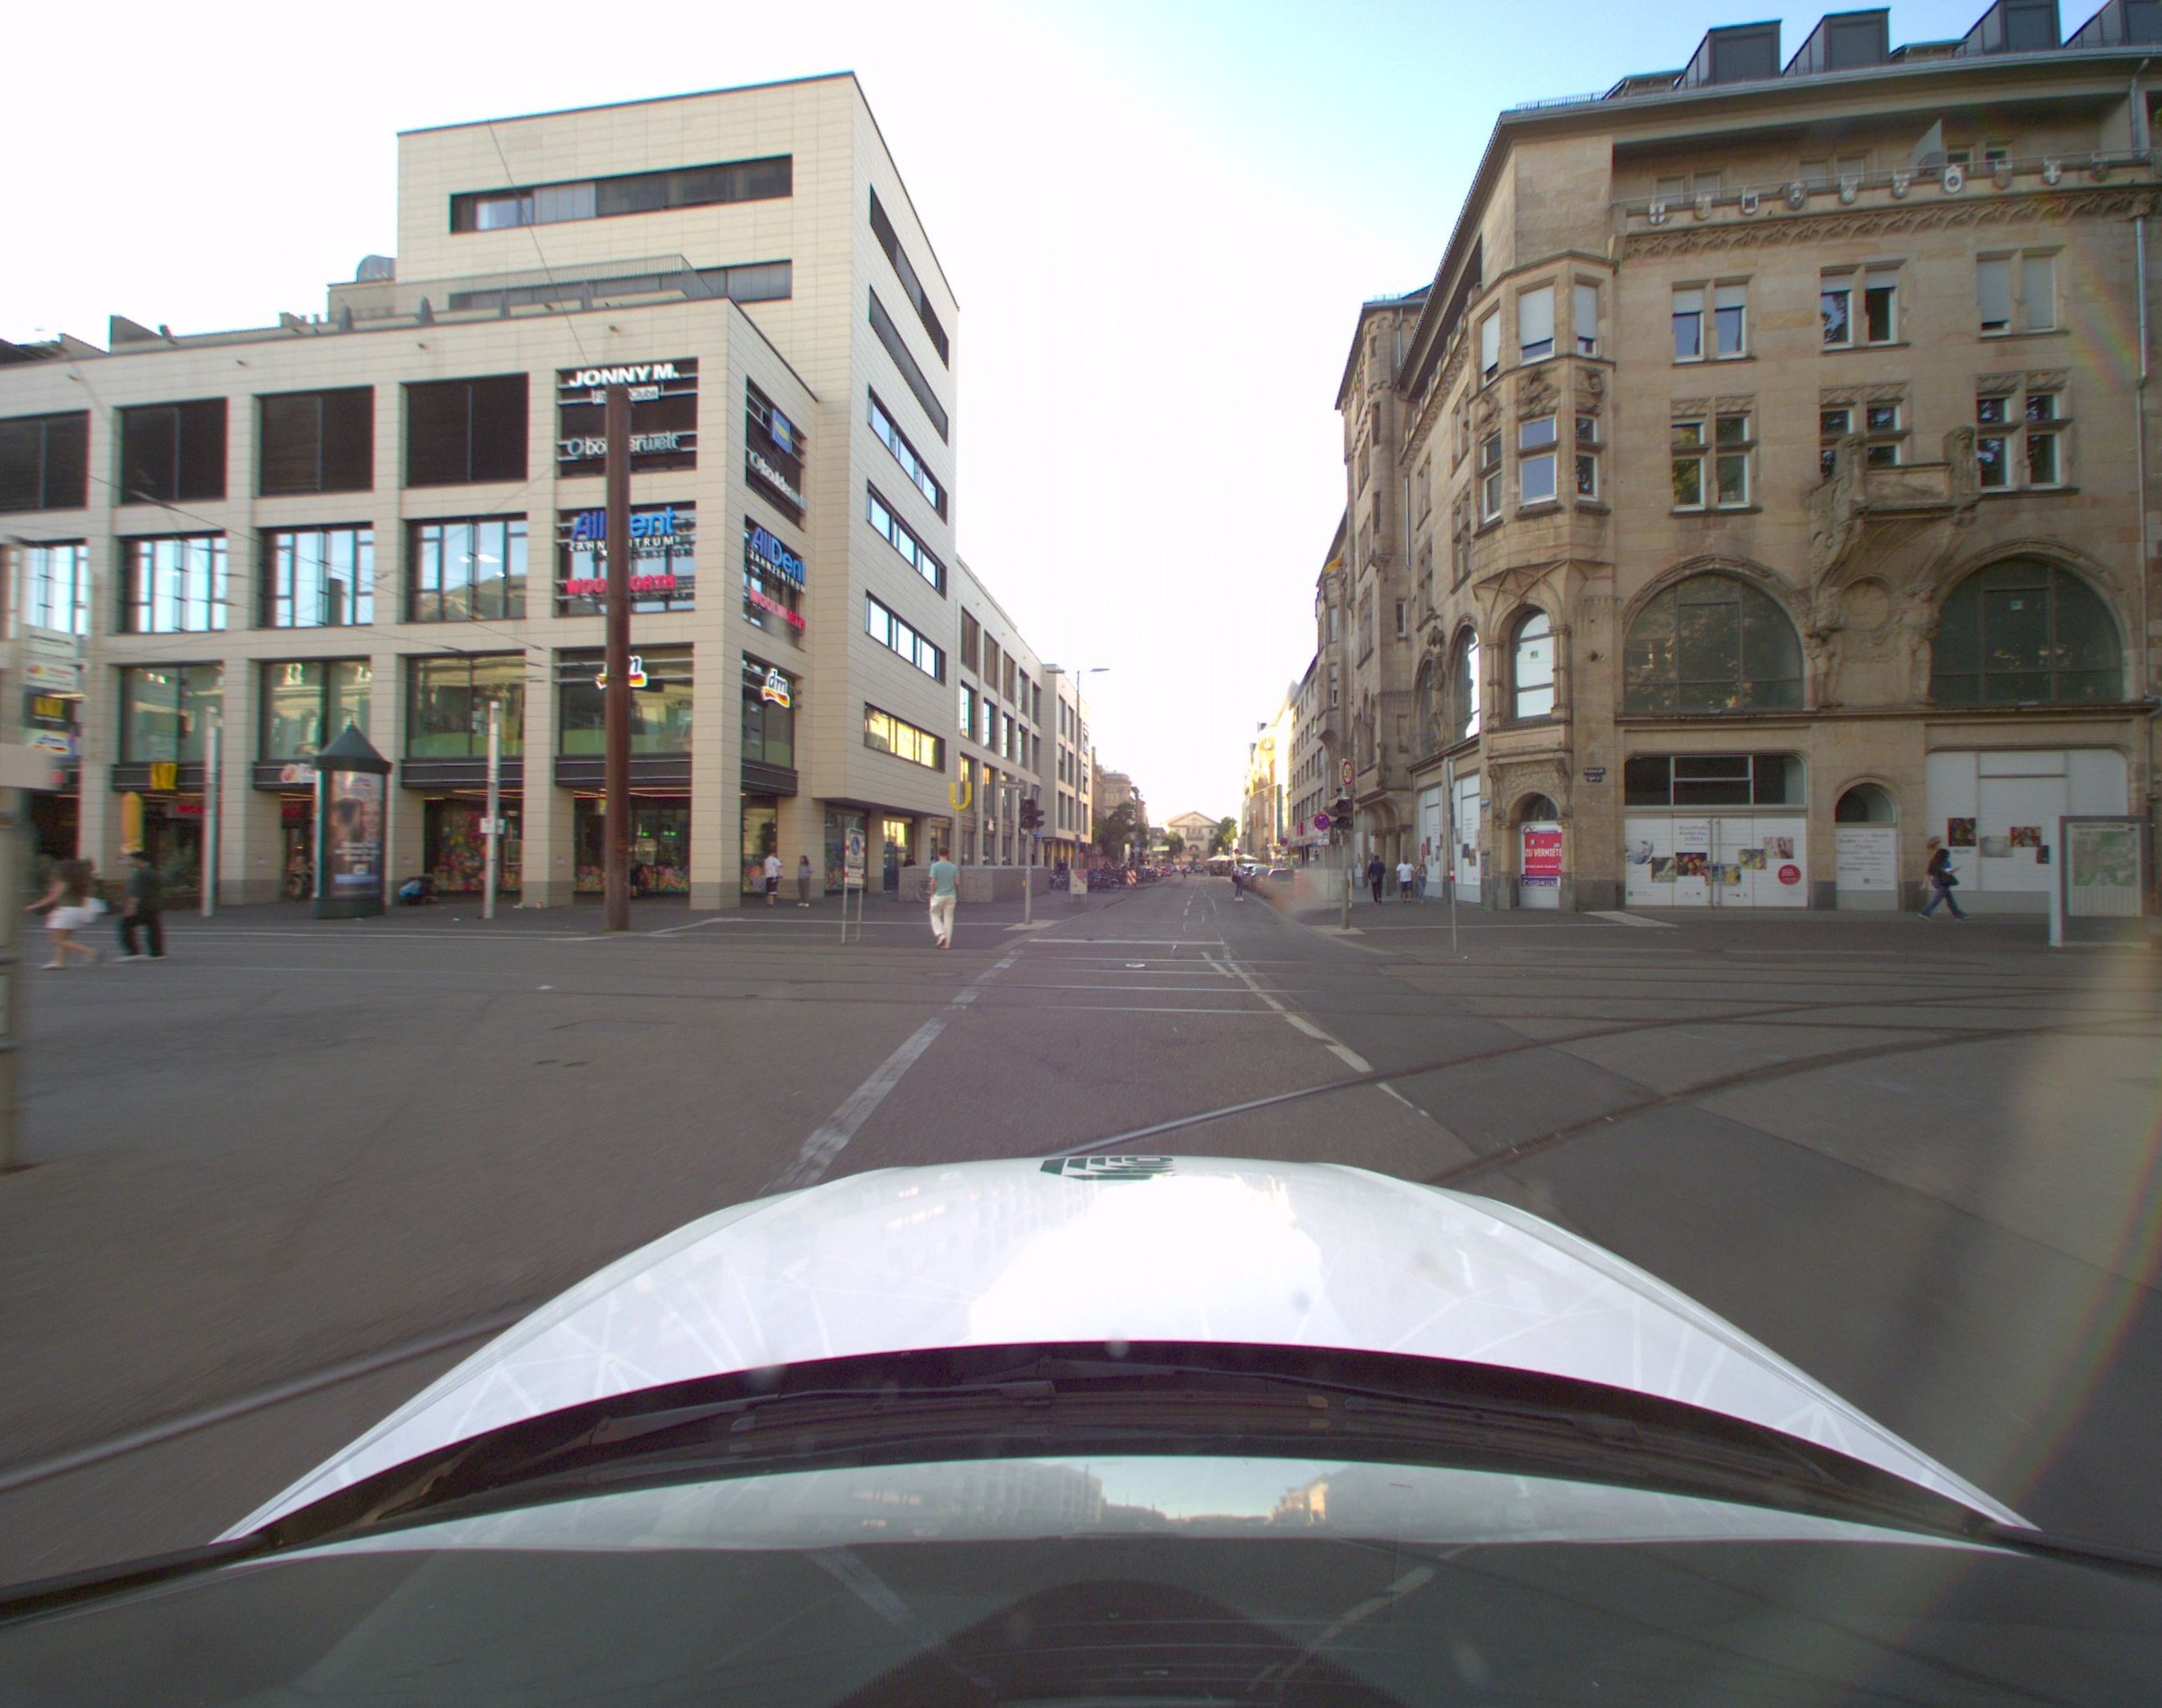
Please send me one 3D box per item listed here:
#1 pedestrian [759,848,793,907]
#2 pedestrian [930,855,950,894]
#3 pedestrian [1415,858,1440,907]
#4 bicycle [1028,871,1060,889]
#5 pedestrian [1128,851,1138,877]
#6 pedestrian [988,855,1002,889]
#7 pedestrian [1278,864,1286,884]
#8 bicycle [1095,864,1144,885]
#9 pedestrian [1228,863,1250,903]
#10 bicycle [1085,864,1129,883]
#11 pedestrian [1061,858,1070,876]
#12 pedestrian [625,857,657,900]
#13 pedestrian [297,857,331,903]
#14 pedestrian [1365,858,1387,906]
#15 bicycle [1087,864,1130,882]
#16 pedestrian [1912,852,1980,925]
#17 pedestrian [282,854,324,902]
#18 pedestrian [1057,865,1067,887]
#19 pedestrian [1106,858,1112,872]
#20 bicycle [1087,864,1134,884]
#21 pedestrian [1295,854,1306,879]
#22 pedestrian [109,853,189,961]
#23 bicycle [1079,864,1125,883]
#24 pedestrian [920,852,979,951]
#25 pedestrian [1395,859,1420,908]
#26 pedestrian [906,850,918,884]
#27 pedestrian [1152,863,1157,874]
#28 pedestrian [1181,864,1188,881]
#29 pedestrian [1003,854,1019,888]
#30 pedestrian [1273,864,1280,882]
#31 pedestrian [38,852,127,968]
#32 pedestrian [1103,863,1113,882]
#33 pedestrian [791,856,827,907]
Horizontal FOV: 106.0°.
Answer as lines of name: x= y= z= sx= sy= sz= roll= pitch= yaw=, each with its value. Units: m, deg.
pedestrian: x=-9.788 y=0.748 z=26.143 sx=0.568 sy=1.855 sz=0.820 roll=1 pitch=-1 yaw=20
pedestrian: x=-6.489 y=0.948 z=37.497 sx=0.778 sy=1.751 sz=0.601 roll=1 pitch=-1 yaw=5
pedestrian: x=12.160 y=0.985 z=28.596 sx=0.621 sy=1.690 sz=0.627 roll=-1 pitch=-1 yaw=7
bicycle: x=-2.375 y=1.673 z=52.082 sx=1.974 sy=1.122 sz=0.554 roll=1 pitch=-1 yaw=-21
pedestrian: x=3.723 y=0.721 z=58.523 sx=0.655 sy=1.823 sz=0.528 roll=0 pitch=-1 yaw=-2
pedestrian: x=-4.302 y=0.903 z=40.743 sx=0.597 sy=1.646 sz=0.547 roll=1 pitch=-1 yaw=6
pedestrian: x=18.234 y=1.777 z=73.853 sx=0.640 sy=1.800 sz=0.672 roll=-1 pitch=-1 yaw=7
bicycle: x=2.391 y=1.260 z=50.550 sx=2.894 sy=1.255 sz=0.799 roll=0 pitch=-1 yaw=-18
pedestrian: x=6.941 y=1.270 z=35.769 sx=0.831 sy=1.721 sz=0.682 roll=0 pitch=-1 yaw=1
bicycle: x=1.766 y=1.294 z=55.442 sx=2.894 sy=1.255 sz=0.799 roll=0 pitch=-1 yaw=-18
pedestrian: x=-1.418 y=1.204 z=74.008 sx=0.727 sy=1.621 sz=0.663 roll=-1 pitch=-1 yaw=8
pedestrian: x=-15.786 y=0.871 z=29.220 sx=0.568 sy=1.526 sz=0.794 roll=1 pitch=-1 yaw=20
pedestrian: x=-28.551 y=0.974 z=30.322 sx=0.670 sy=1.680 sz=0.576 roll=1 pitch=-1 yaw=9
pedestrian: x=10.654 y=0.997 z=29.430 sx=0.621 sy=1.690 sz=0.672 roll=-1 pitch=-1 yaw=7
bicycle: x=1.900 y=1.305 z=56.410 sx=2.894 sy=1.255 sz=0.799 roll=0 pitch=-1 yaw=-18
pedestrian: x=19.744 y=0.780 z=18.600 sx=0.815 sy=1.611 sz=0.715 roll=1 pitch=-1 yaw=8
pedestrian: x=-28.038 y=0.864 z=29.351 sx=0.809 sy=1.680 sz=0.685 roll=1 pitch=-1 yaw=9
pedestrian: x=-1.452 y=1.633 z=61.329 sx=0.676 sy=1.621 sz=0.575 roll=-1 pitch=-1 yaw=8
pedestrian: x=3.190 y=1.273 z=92.358 sx=0.676 sy=1.621 sz=0.575 roll=-1 pitch=-1 yaw=8
bicycle: x=1.870 y=1.262 z=51.721 sx=2.894 sy=1.255 sz=0.799 roll=0 pitch=-1 yaw=-18
pedestrian: x=14.961 y=0.875 z=55.551 sx=0.640 sy=1.690 sz=0.672 roll=-1 pitch=-1 yaw=7
pedestrian: x=-14.931 y=0.827 z=13.059 sx=0.525 sy=1.674 sz=0.652 roll=0 pitch=-1 yaw=9
bicycle: x=1.392 y=1.274 z=54.004 sx=2.894 sy=1.255 sz=0.799 roll=0 pitch=-1 yaw=-18
pedestrian: x=-2.430 y=0.857 z=14.999 sx=0.870 sy=1.761 sz=0.761 roll=1 pitch=-1 yaw=-26
pedestrian: x=11.398 y=1.008 z=28.428 sx=0.621 sy=1.690 sz=0.672 roll=-1 pitch=-1 yaw=7
pedestrian: x=-7.695 y=0.590 z=37.161 sx=0.388 sy=1.515 sz=0.507 roll=0 pitch=-1 yaw=7
pedestrian: x=9.564 y=1.919 z=106.102 sx=0.546 sy=1.486 sz=0.566 roll=0 pitch=-1 yaw=6
pedestrian: x=11.182 y=1.957 z=87.843 sx=0.594 sy=1.823 sz=0.454 roll=-1 pitch=-1 yaw=19
pedestrian: x=-3.494 y=0.854 z=40.839 sx=0.677 sy=1.681 sz=0.601 roll=1 pitch=-1 yaw=6
pedestrian: x=19.410 y=1.884 z=80.830 sx=0.640 sy=1.746 sz=0.672 roll=-1 pitch=-1 yaw=7
pedestrian: x=-14.826 y=0.807 z=12.103 sx=0.525 sy=1.674 sz=0.652 roll=0 pitch=-1 yaw=9
pedestrian: x=2.170 y=1.494 z=66.406 sx=0.747 sy=1.529 sz=0.486 roll=-1 pitch=-1 yaw=8
pedestrian: x=-9.065 y=0.900 z=27.163 sx=0.759 sy=1.659 sz=0.820 roll=1 pitch=-1 yaw=22
